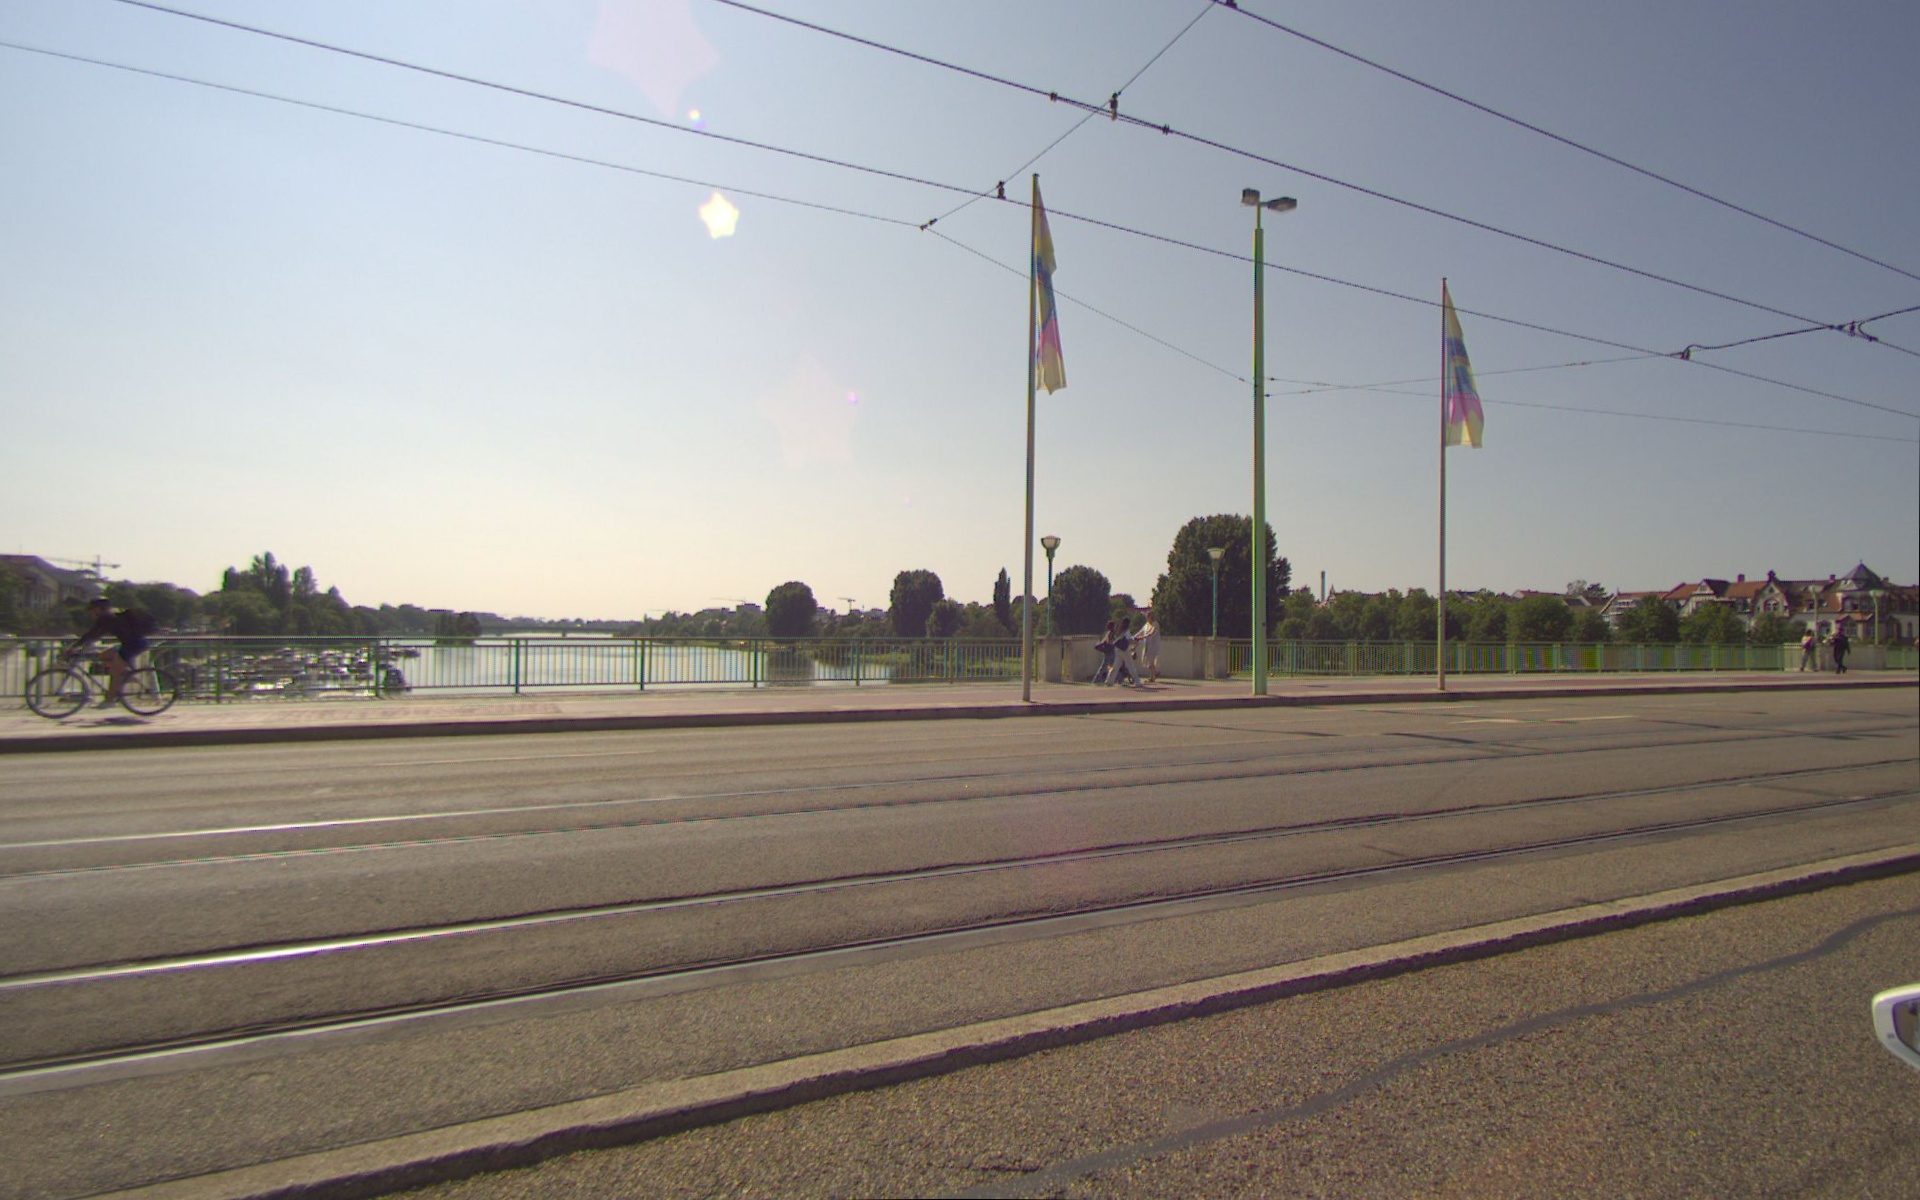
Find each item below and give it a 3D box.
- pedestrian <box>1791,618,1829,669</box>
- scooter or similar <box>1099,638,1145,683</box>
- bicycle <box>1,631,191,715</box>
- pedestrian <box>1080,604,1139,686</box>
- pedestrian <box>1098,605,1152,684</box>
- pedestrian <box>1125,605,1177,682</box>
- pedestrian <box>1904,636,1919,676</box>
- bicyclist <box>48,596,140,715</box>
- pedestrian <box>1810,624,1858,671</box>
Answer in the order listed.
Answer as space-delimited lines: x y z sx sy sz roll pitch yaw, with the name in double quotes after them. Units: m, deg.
34.505 1.755 40.765 1.029 2.040 0.895 1 -1 -29 "pedestrian"
4.004 1.489 24.862 0.822 1.043 0.735 1 2 -29 "scooter or similar"
-12.312 1.036 14.404 1.895 1.128 0.756 2 -2 -27 "bicycle"
3.554 1.054 23.919 1.108 1.874 0.735 1 2 -29 "pedestrian"
3.902 1.039 23.708 0.946 1.808 0.735 1 2 -29 "pedestrian"
4.806 1.085 25.294 0.963 1.878 0.735 1 2 -29 "pedestrian"
42.849 2.514 44.800 1.161 1.745 0.751 2 -1 -29 "pedestrian"
-12.364 0.780 14.372 0.762 1.630 0.874 2 -2 -27 "bicyclist"
34.285 1.854 39.410 1.280 1.781 1.092 1 -1 -30 "pedestrian"
